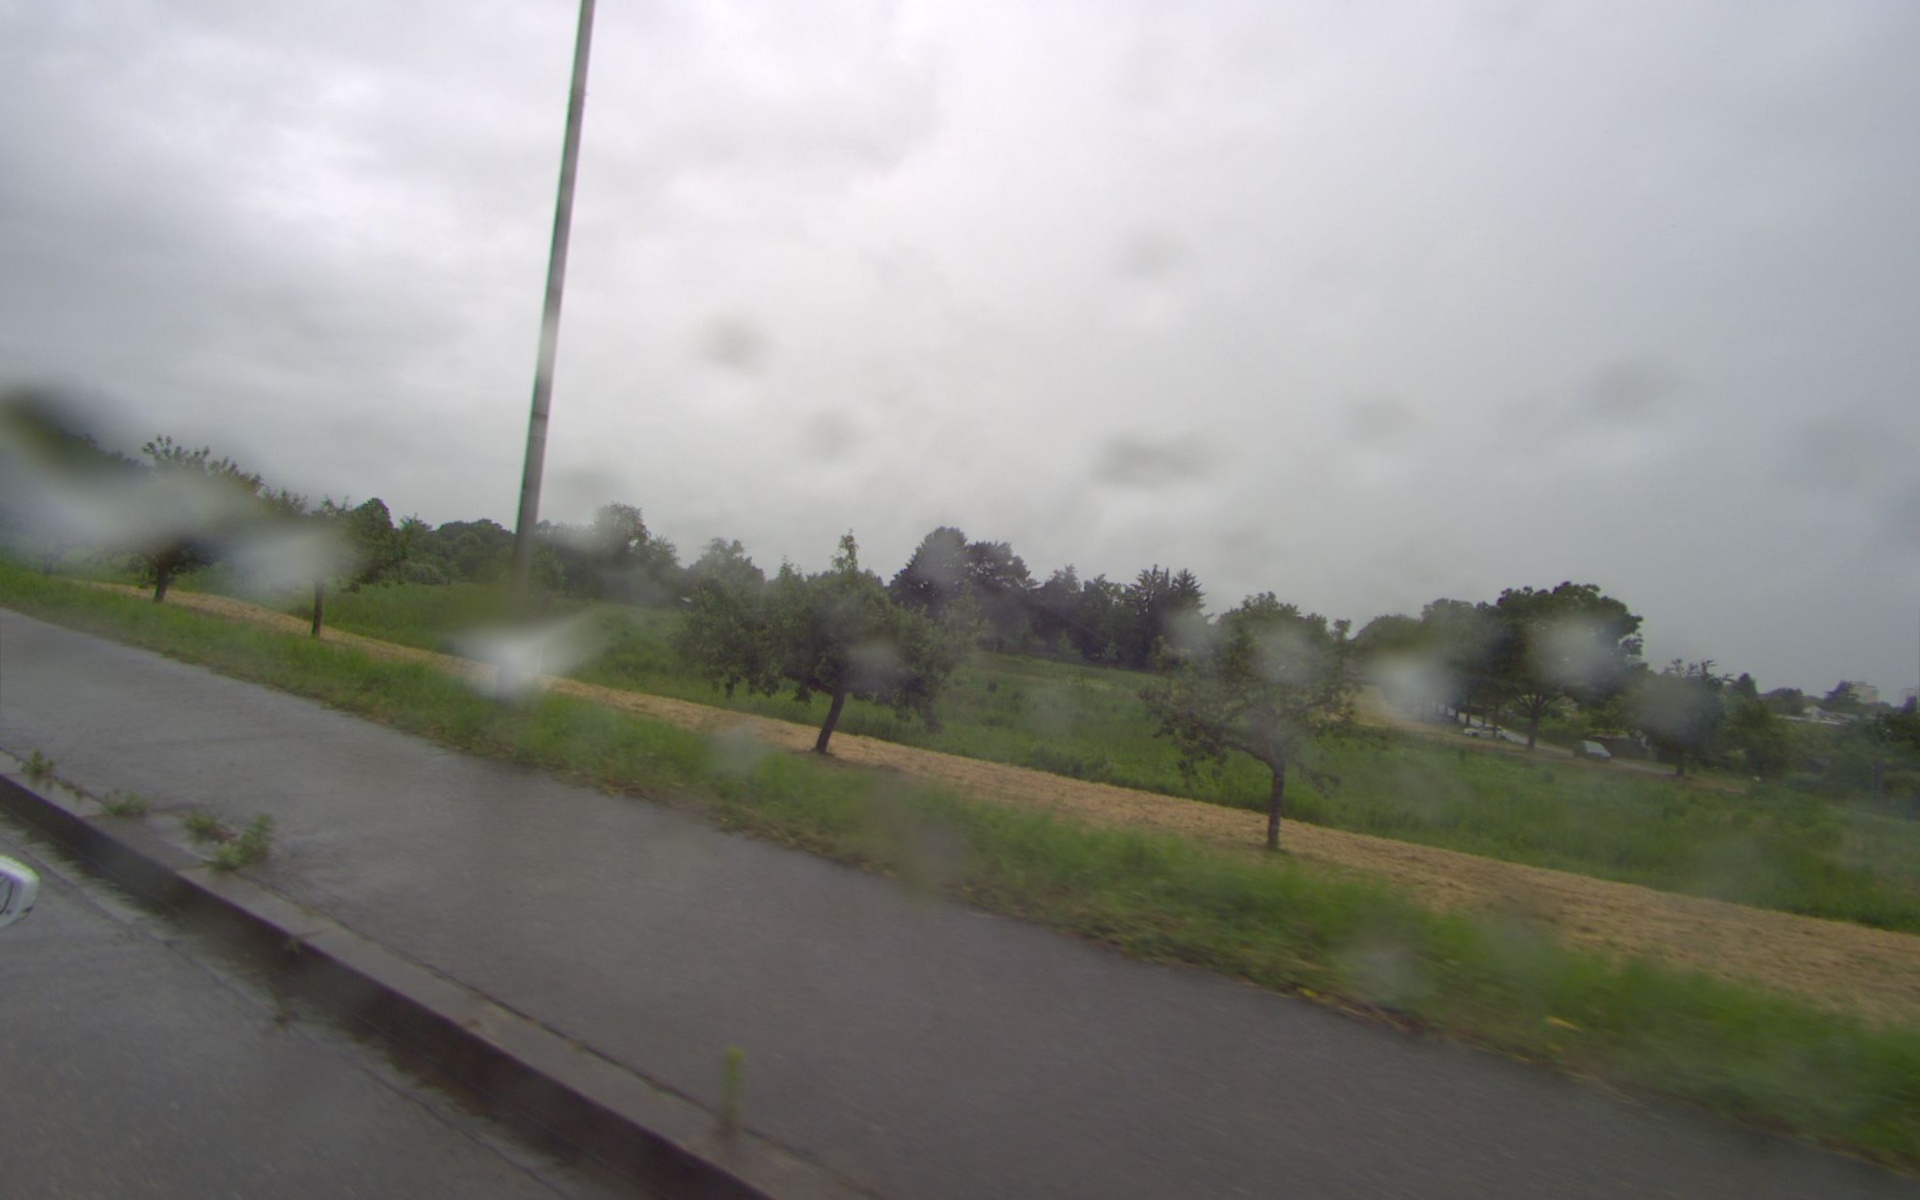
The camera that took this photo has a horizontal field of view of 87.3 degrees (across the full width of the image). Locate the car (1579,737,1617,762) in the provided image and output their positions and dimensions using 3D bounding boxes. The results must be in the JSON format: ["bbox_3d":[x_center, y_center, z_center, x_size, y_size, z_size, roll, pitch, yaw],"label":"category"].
[{"bbox_3d":[49.272,11.531,77.788,1.768,1.527,4.000,6,-2,24],"label":"car"}]
